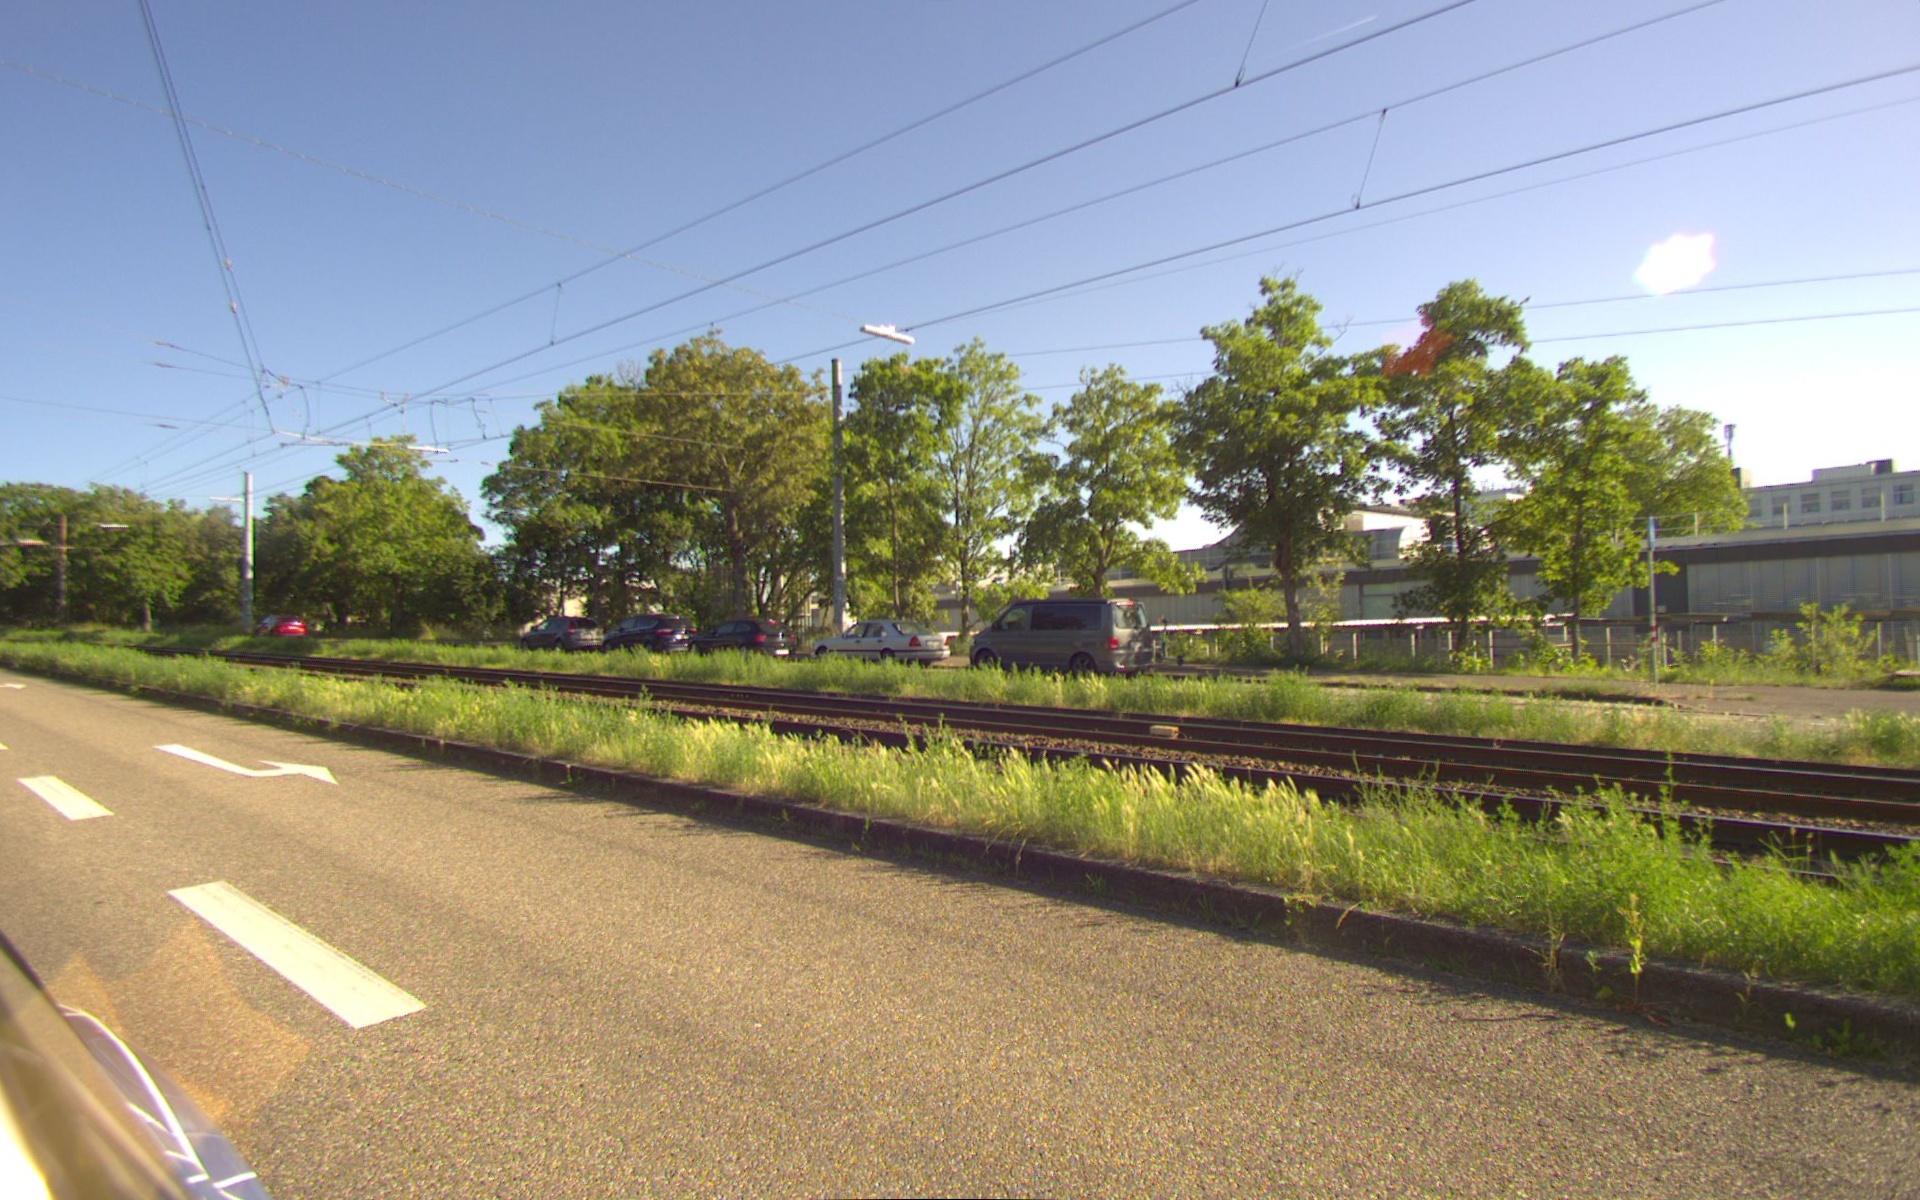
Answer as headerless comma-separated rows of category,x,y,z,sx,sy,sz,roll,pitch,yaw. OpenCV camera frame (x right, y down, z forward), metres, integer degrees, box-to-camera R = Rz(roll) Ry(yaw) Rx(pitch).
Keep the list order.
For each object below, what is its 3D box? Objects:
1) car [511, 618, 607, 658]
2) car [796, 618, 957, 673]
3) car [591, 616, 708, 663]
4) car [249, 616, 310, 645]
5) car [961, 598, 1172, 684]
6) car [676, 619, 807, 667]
car,-16.348,1.522,41.208,4.323,1.505,1.718,-1,0,39
car,-2.463,1.287,29.195,4.692,1.448,1.908,-2,-1,41
car,-11.327,1.405,36.763,4.430,1.586,1.974,-2,-1,39
car,-42.204,1.878,62.754,4.462,1.715,1.984,-1,-1,40
car,2.521,0.965,24.784,4.791,1.905,2.173,-2,-1,43
car,-7.240,1.401,33.299,4.412,1.448,1.973,-2,-1,41
